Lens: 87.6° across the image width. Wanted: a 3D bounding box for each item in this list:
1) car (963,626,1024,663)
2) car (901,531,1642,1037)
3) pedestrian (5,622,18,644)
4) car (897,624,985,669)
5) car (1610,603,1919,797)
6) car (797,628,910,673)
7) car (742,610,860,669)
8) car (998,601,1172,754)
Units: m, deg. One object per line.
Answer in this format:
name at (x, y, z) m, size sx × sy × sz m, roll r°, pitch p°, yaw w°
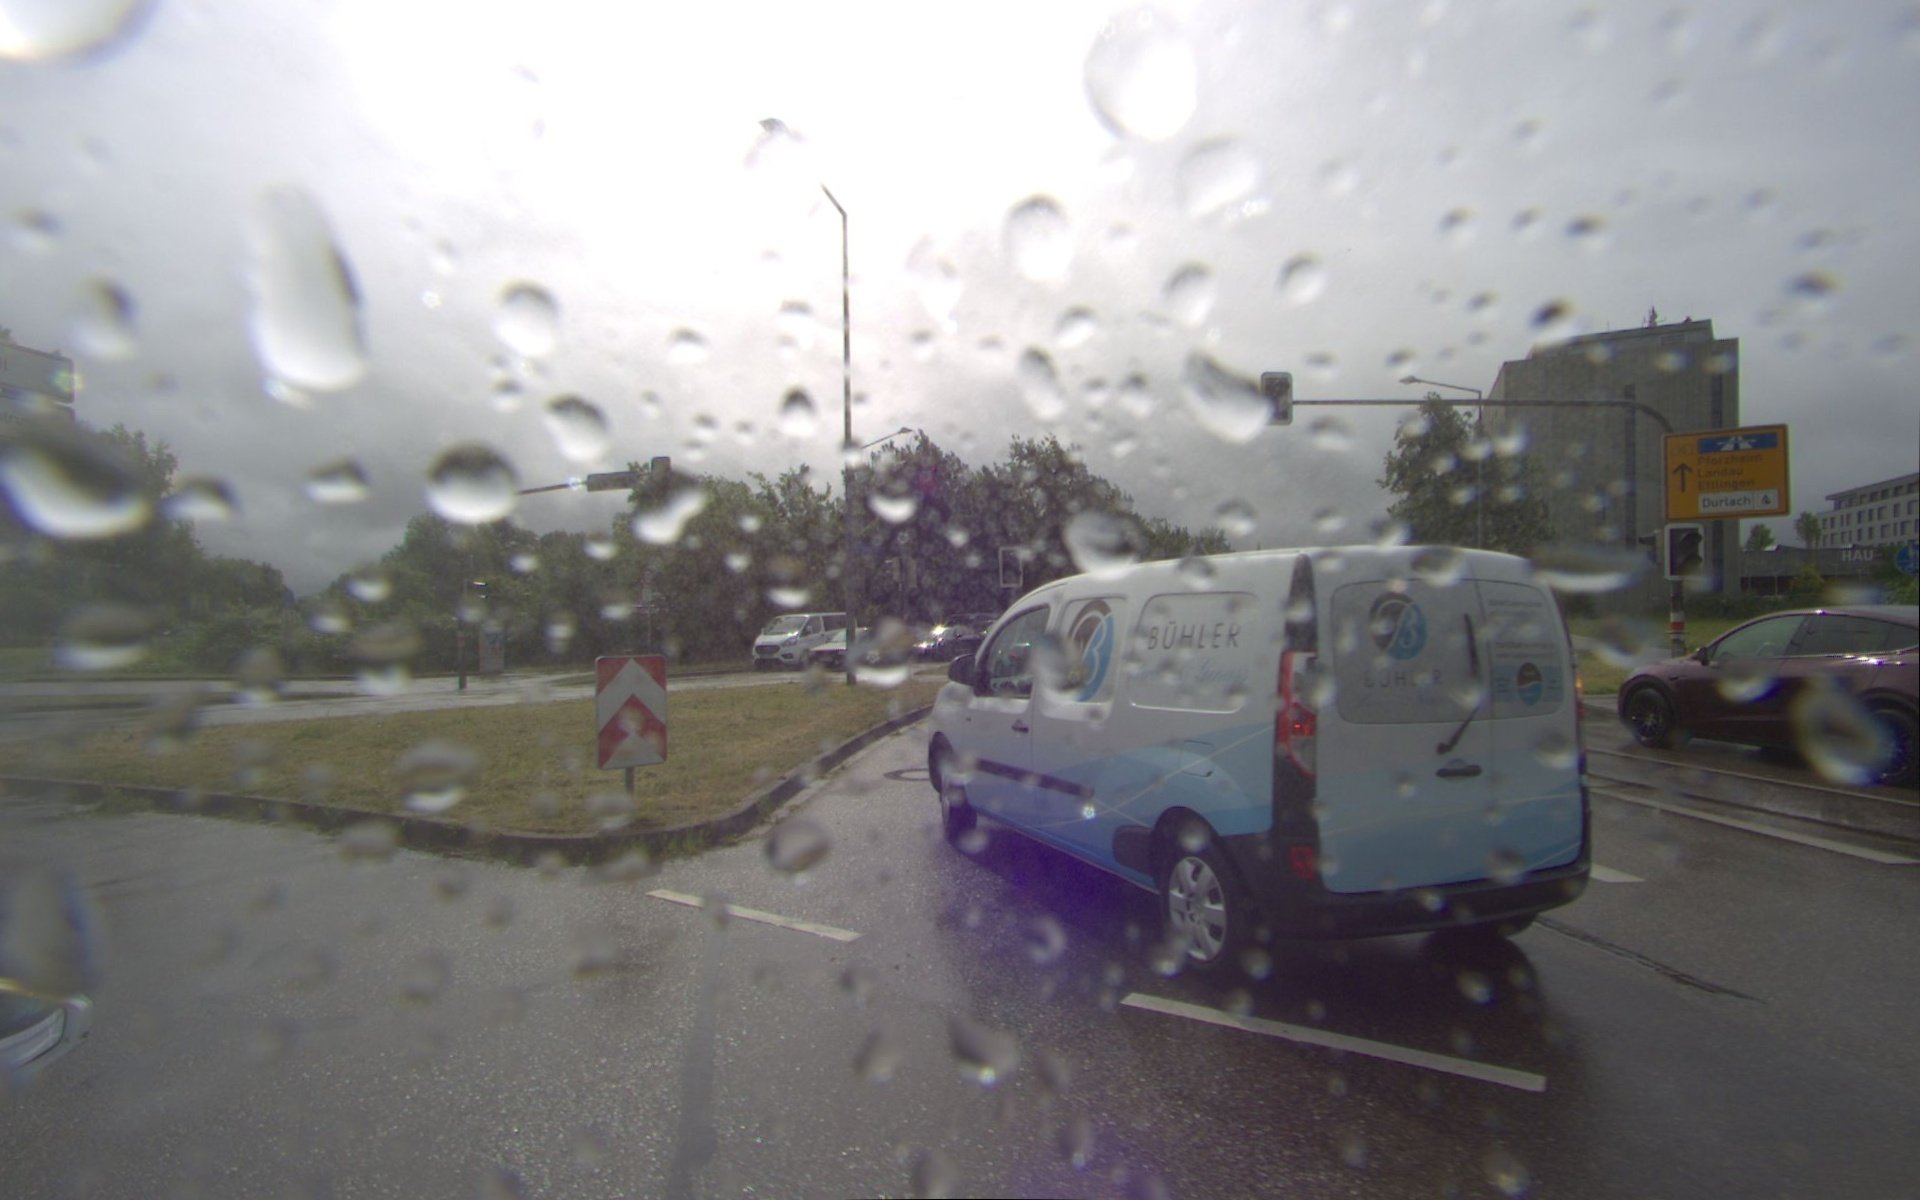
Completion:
car at (1.561, 1.988, 45.560) m, size 1.542 × 1.602 × 3.591 m, roll 0°, pitch -1°, yaw 24°
car at (1.201, 0.696, 5.987) m, size 1.836 × 1.785 × 4.540 m, roll 0°, pitch -1°, yaw -21°
pedestrian at (-77.781, 2.696, 82.093) m, size 0.590 × 1.754 × 0.603 m, roll -1°, pitch -2°, yaw -25°
car at (-0.689, 1.800, 40.093) m, size 1.837 × 1.556 × 4.474 m, roll 0°, pitch 0°, yaw 24°
car at (9.102, 0.875, 10.190) m, size 1.839 × 1.679 × 4.499 m, roll 0°, pitch 0°, yaw -4°
car at (-3.532, 1.658, 34.079) m, size 1.837 × 1.398 × 4.539 m, roll 0°, pitch -1°, yaw 24°
car at (-5.715, 1.389, 36.581) m, size 2.044 × 2.013 × 4.787 m, roll 0°, pitch -1°, yaw 23°
car at (1.538, 0.924, 13.875) m, size 2.002 × 1.780 × 4.322 m, roll 0°, pitch 0°, yaw 2°
